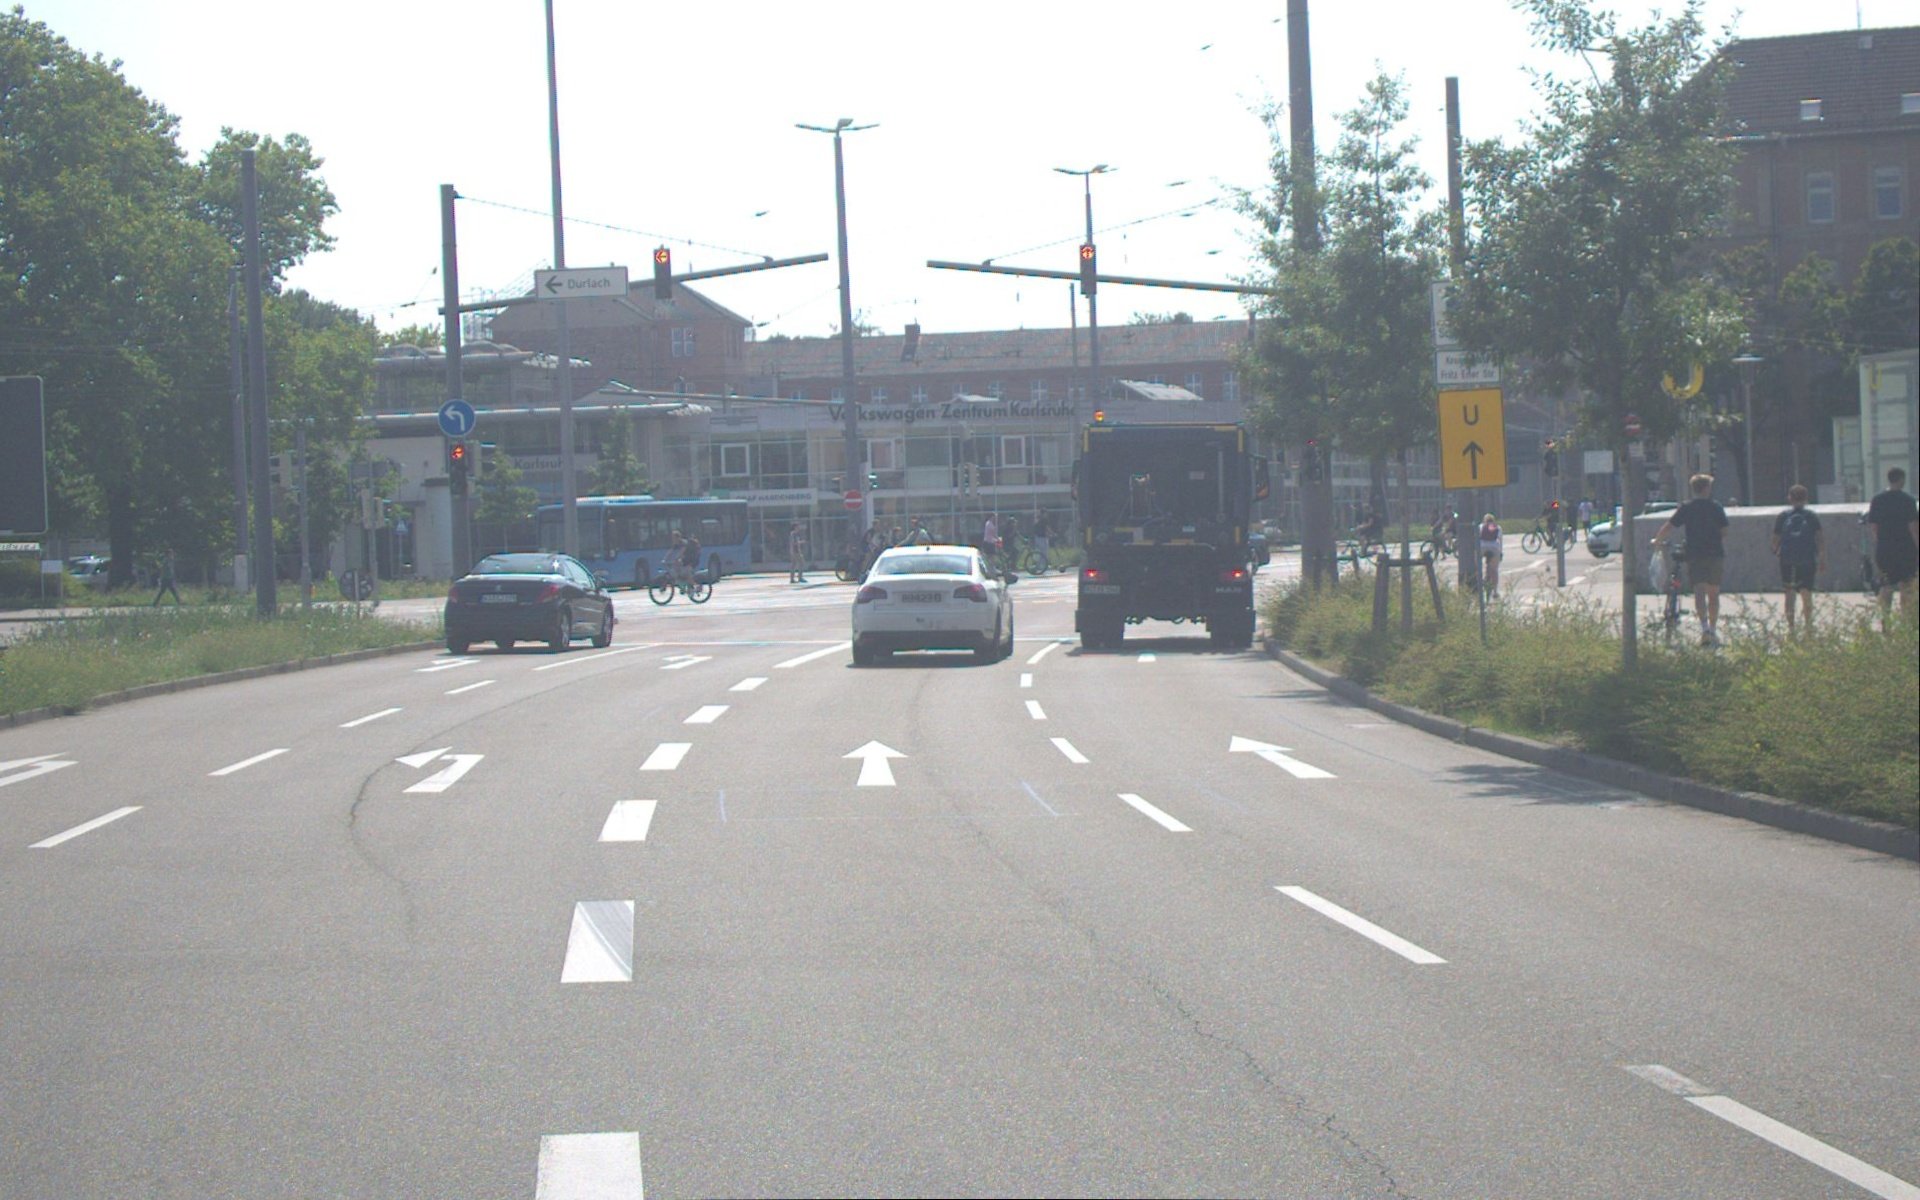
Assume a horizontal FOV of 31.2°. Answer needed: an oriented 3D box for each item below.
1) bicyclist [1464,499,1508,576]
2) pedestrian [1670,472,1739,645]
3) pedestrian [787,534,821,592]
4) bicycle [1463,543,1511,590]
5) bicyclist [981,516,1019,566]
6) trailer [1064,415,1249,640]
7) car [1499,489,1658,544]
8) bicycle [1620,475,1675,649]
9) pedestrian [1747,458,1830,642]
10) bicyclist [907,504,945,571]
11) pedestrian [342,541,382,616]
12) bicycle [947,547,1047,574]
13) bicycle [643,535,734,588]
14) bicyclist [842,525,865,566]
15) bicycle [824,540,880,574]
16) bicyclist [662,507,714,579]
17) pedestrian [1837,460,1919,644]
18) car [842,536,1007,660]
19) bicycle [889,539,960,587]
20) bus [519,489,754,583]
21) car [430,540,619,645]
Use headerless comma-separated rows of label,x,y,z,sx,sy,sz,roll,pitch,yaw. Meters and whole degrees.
bicyclist,9.249,-1.100,60.435,0.674,1.315,0.683,-2,1,5
pedestrian,8.143,-0.455,37.591,0.660,1.854,0.792,-1,1,15
pedestrian,-4.796,-1.131,105.742,0.784,1.746,0.808,-1,1,18
bicycle,9.272,-0.600,60.511,0.674,0.774,2.127,-2,1,5
bicyclist,1.235,-1.806,105.489,0.903,1.496,0.865,-2,1,-15
trailer,2.860,-1.045,49.083,2.463,2.997,6.325,0,1,4
car,17.474,-2.353,97.073,4.052,1.420,1.776,-2,1,-22
bicycle,7.513,-0.431,37.558,0.455,1.854,1.362,-1,1,15
pedestrian,8.998,-0.546,37.336,0.778,1.966,0.753,-1,1,18
bicyclist,-0.843,-1.548,85.376,0.692,1.644,0.618,1,3,35
pedestrian,-10.386,-0.378,59.688,0.595,1.264,0.505,-2,4,-15
bicycle,1.138,-1.215,105.475,2.934,0.725,0.865,-2,1,-15
bicycle,-6.359,-0.893,80.257,0.972,1.174,2.832,-2,1,-30
bicyclist,-3.174,-1.618,102.353,0.504,1.184,0.507,-1,1,20
bicycle,-3.216,-1.283,102.374,1.592,0.981,0.507,-1,1,20
bicyclist,-6.350,-1.335,80.208,0.972,1.648,0.662,-2,1,-30
pedestrian,10.007,-0.531,37.465,0.778,1.966,0.753,-1,1,18
car,-0.400,-0.062,43.751,1.758,1.450,4.425,-1,1,4
bicycle,-0.866,-0.917,85.355,0.698,1.133,2.040,1,3,35
bus,-10.649,-2.218,114.977,3.056,2.921,11.842,-1,1,20
car,-6.214,-0.134,49.465,1.758,1.399,3.980,-1,1,7
